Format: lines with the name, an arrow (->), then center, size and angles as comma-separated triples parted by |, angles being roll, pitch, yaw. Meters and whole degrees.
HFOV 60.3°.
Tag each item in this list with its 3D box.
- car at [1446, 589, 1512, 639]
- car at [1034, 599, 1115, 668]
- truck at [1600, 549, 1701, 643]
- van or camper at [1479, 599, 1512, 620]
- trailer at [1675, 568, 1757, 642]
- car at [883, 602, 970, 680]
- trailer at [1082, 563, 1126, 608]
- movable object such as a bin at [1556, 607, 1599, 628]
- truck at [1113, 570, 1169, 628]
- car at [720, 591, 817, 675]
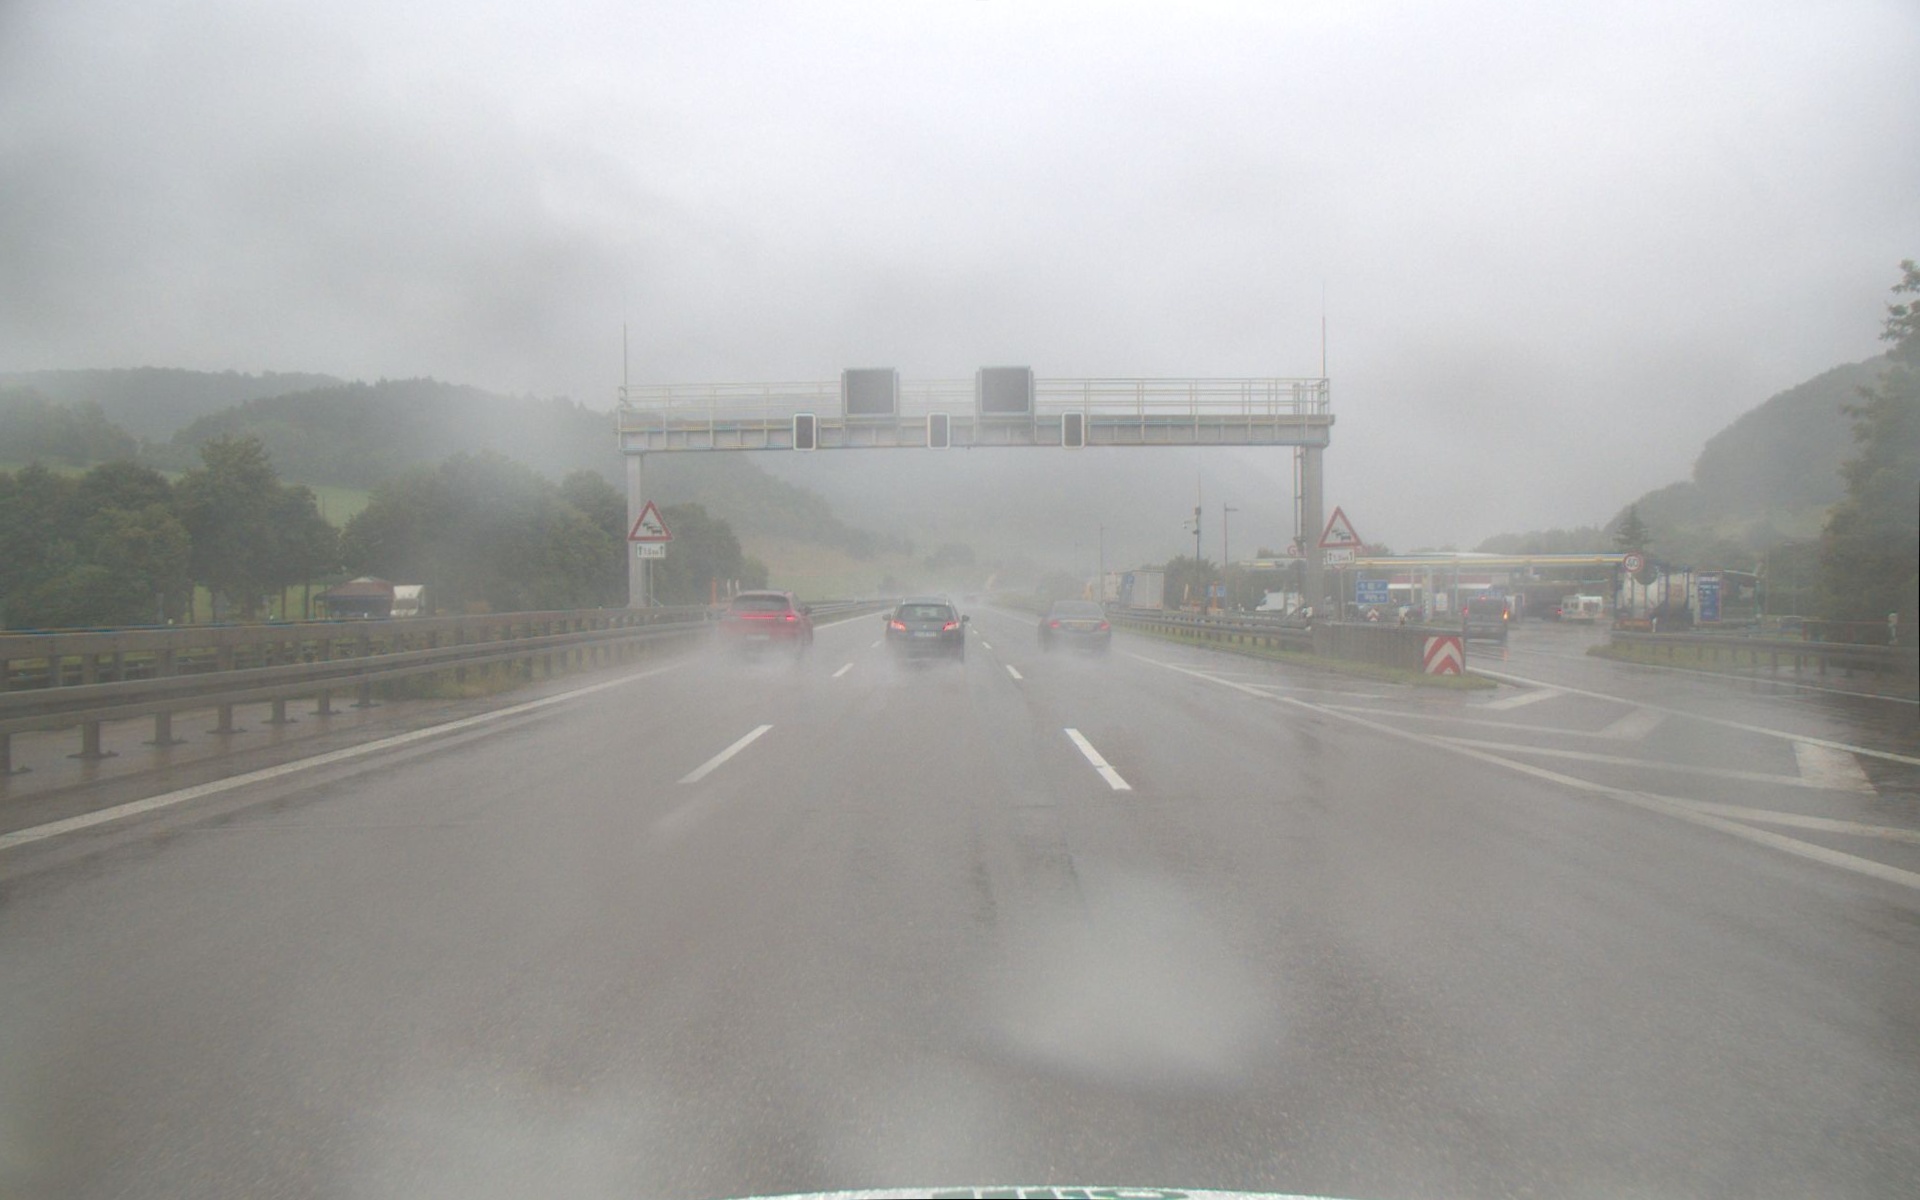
car -> 22.250, 0.575, 71.107 | 1.951, 2.049, 5.059 | 1, 0, 9
car -> 3.114, 0.884, 45.586 | 1.931, 1.791, 4.000 | 0, 0, 0
truck -> 34.483, -0.123, 82.265 | 2.818, 4.331, 11.842 | 1, 0, 32
van or camper -> 53.732, 0.928, 165.961 | 1.953, 2.049, 3.999 | 1, 0, -1
trailer -> 43.816, 0.348, 95.614 | 2.734, 3.969, 11.718 | 1, 0, 32
car -> -0.718, 0.882, 37.355 | 1.821, 1.617, 4.000 | 1, 0, 0
trailer -> 14.436, -1.379, 167.045 | 3.444, 4.336, 11.920 | 1, 0, 1
movable object such as a bin -> 60.711, 1.695, 162.706 | 2.122, 2.049, 5.382 | 1, 0, -1
truck -> 14.908, -0.105, 136.987 | 3.331, 4.479, 11.048 | 2, 0, 0
car -> -4.398, 0.713, 38.536 | 1.846, 1.847, 3.999 | 0, 0, -1
